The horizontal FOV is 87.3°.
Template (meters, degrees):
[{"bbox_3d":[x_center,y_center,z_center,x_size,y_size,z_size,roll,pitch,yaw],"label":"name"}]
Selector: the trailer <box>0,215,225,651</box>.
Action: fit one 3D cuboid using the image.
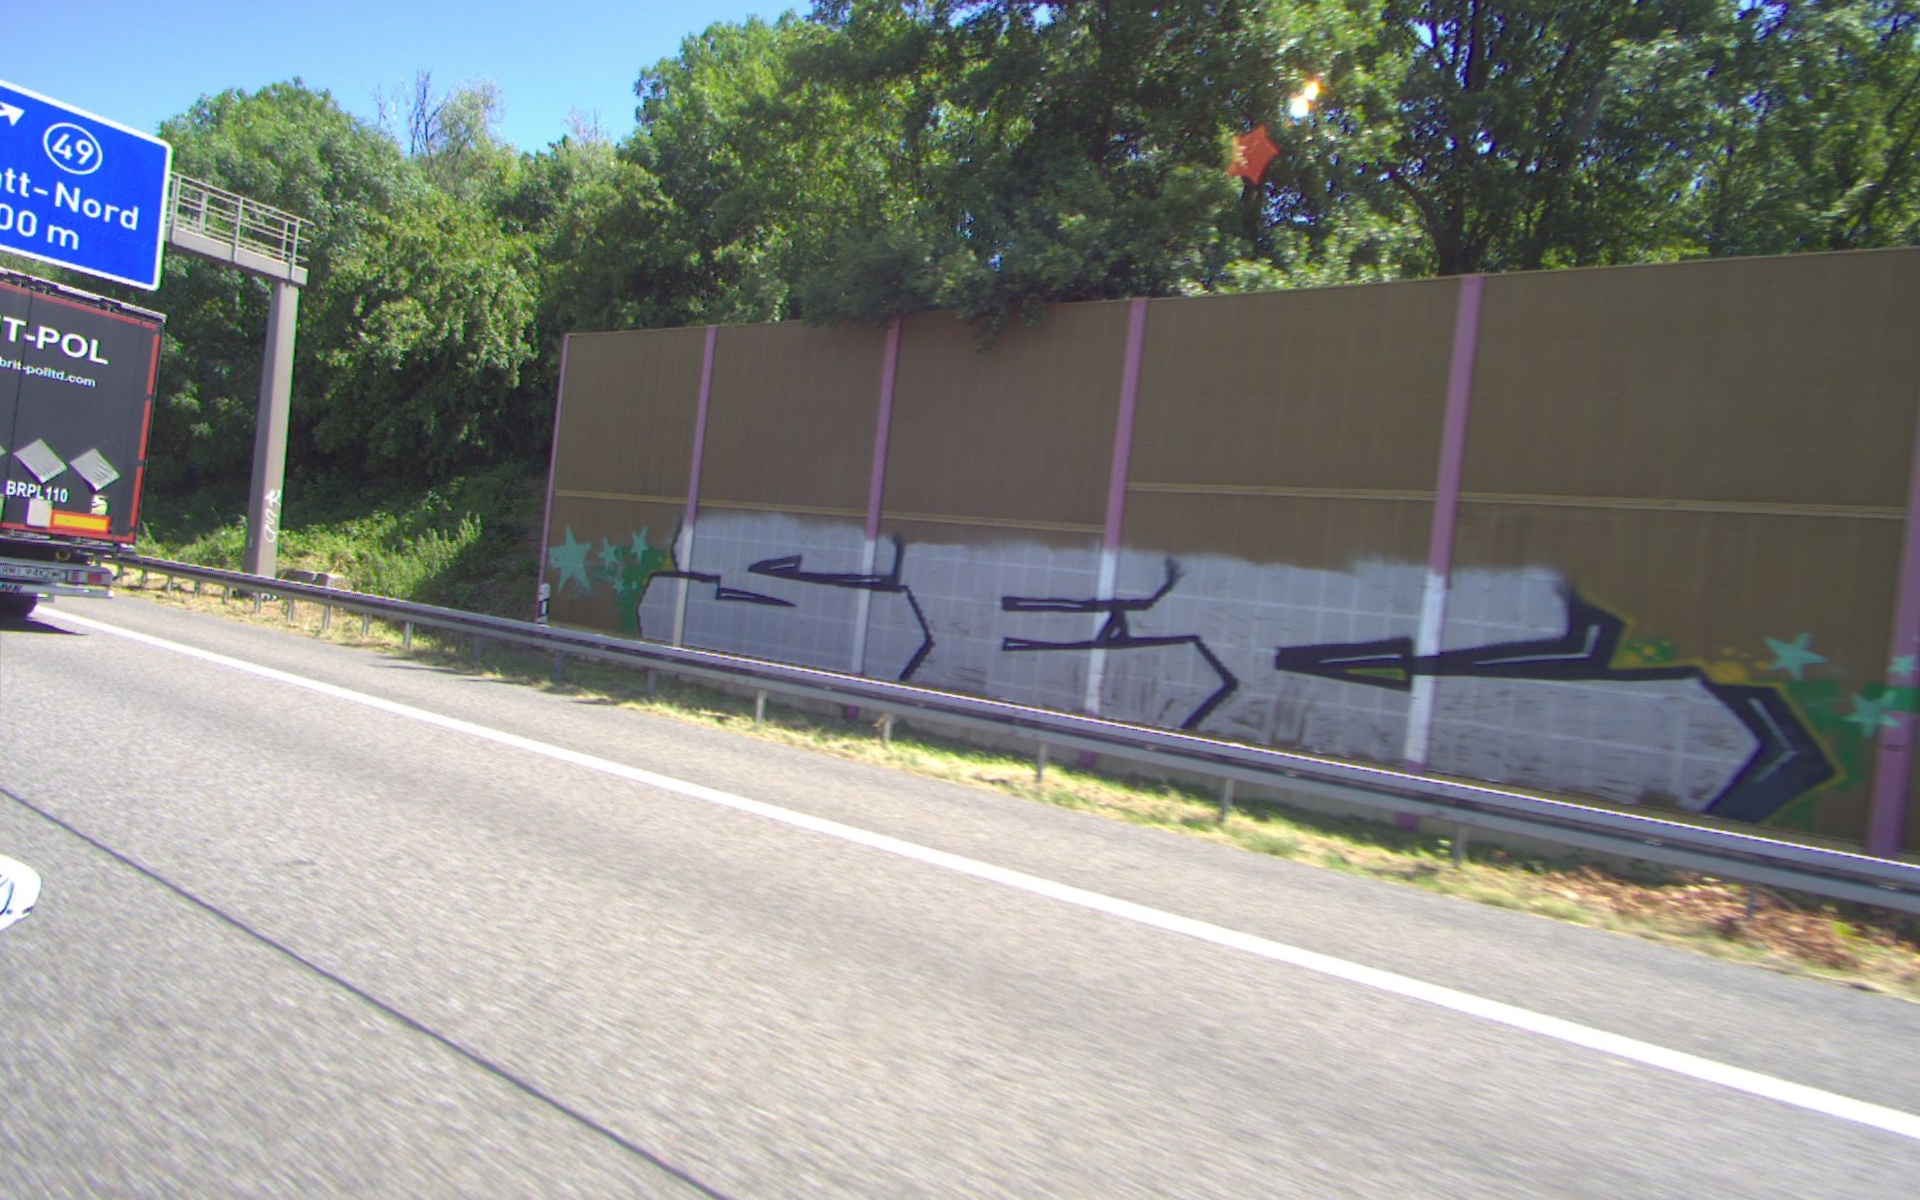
[{"bbox_3d":[-16.392,-2.423,15.001,14.649,4.560,3.111,6,-1,32],"label":"trailer"}]
